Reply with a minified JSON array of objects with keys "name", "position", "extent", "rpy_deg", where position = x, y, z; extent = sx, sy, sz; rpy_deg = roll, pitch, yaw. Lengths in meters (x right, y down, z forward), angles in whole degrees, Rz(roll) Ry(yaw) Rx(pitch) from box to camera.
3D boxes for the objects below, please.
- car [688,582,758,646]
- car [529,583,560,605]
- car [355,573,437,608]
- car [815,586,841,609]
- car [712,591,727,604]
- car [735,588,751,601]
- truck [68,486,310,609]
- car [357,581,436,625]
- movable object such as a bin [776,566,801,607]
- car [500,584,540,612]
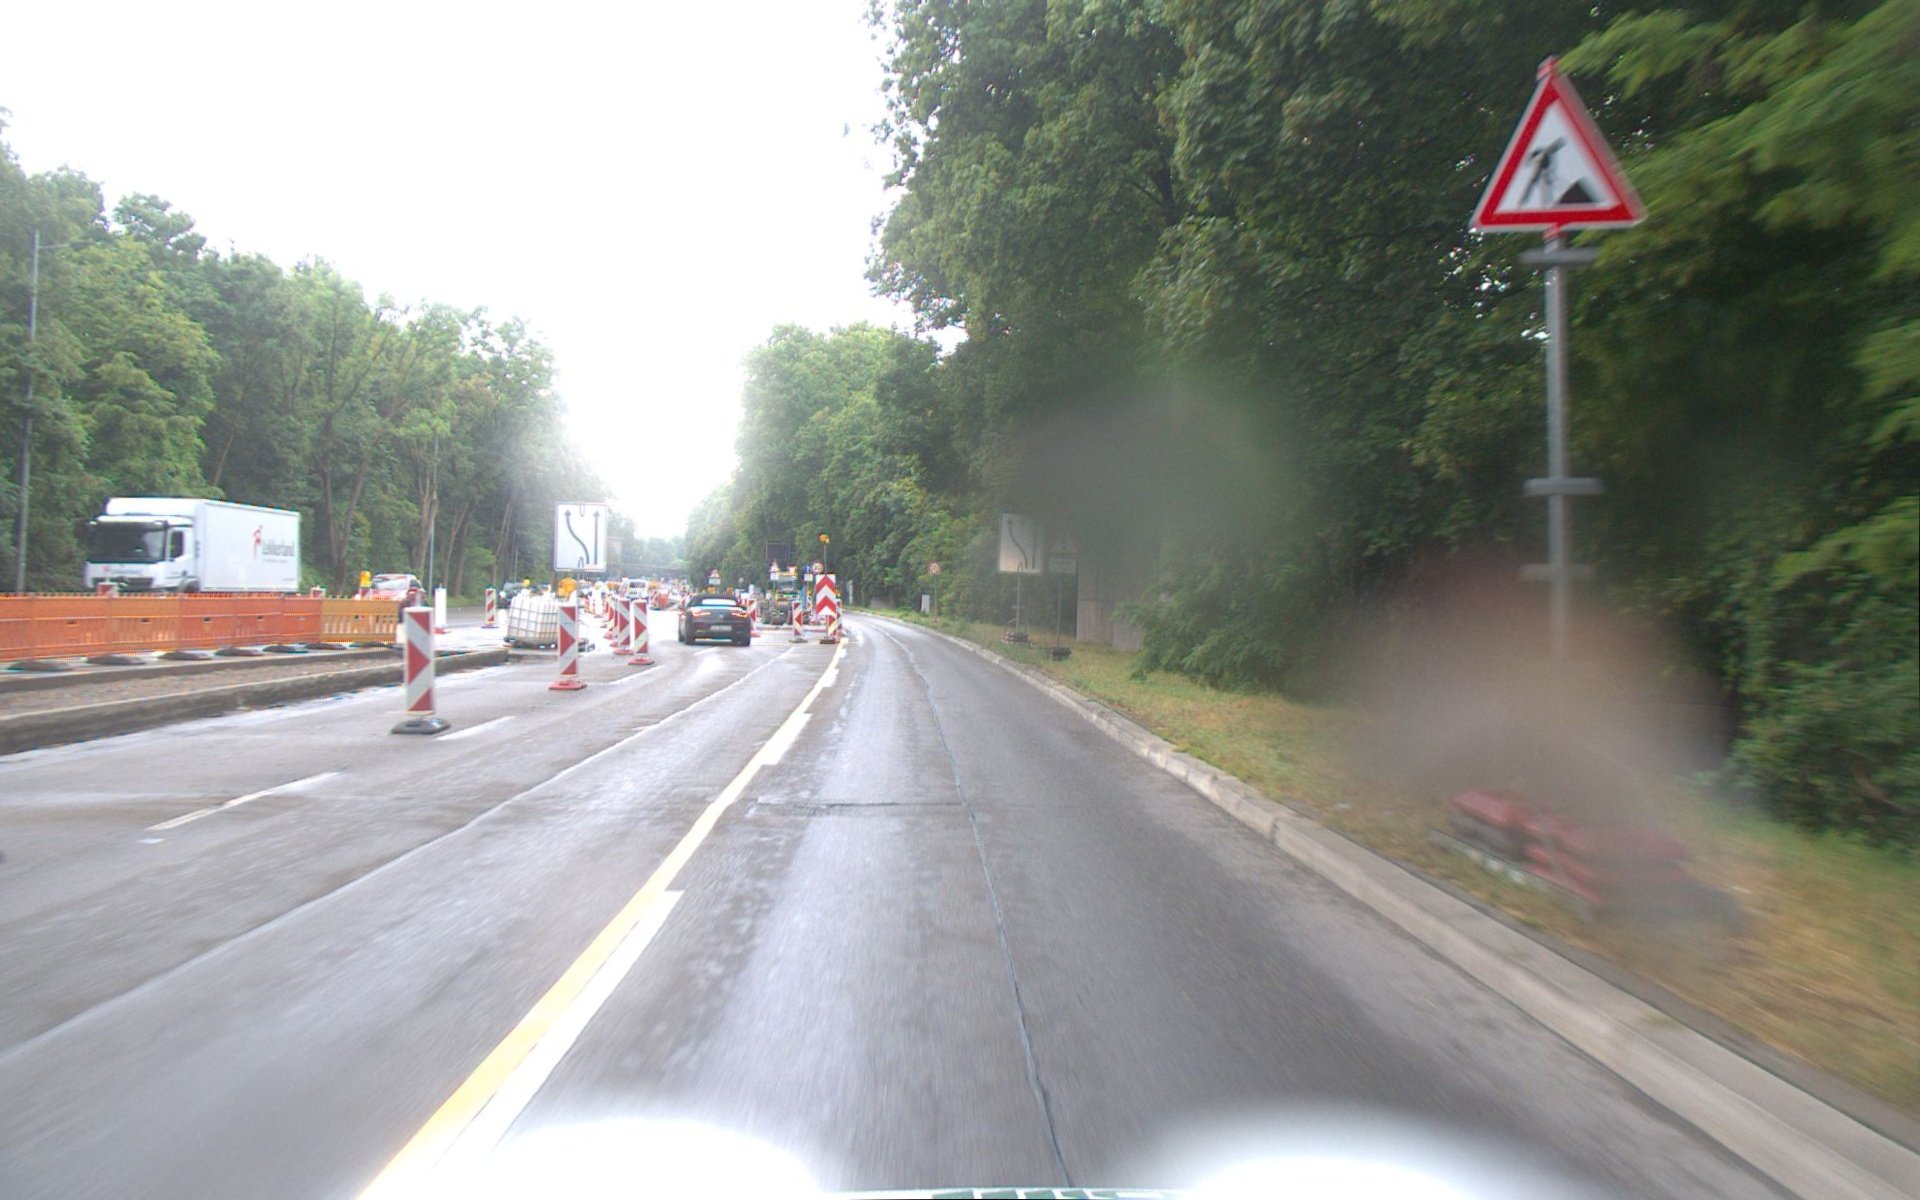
[{"name":"car","position":[-6.782,0.354,47.377],"extent":[1.827,1.517,3.994],"rpy_deg":[3,2,-8]},{"name":"car","position":[-29.443,-0.420,117.259],"extent":[1.495,1.483,3.536],"rpy_deg":[0,0,-4]},{"name":"car","position":[-20.443,-0.334,60.091],"extent":[1.573,1.172,4.281],"rpy_deg":[2,0,-1]},{"name":"car","position":[-10.389,-0.223,129.755],"extent":[1.877,1.625,4.828],"rpy_deg":[2,1,-6]},{"name":"car","position":[-34.563,-0.396,237.531],"extent":[1.839,1.646,3.995],"rpy_deg":[4,0,-6]},{"name":"car","position":[-26.978,-0.720,205.643],"extent":[1.725,1.367,3.990],"rpy_deg":[3,1,-11]},{"name":"truck","position":[-22.737,-1.409,49.556],"extent":[2.739,3.203,10.143],"rpy_deg":[2,0,-2]},{"name":"car","position":[-23.991,0.117,70.628],"extent":[1.807,1.753,4.718],"rpy_deg":[-2,0,-1]},{"name":"movable object such as a bin","position":[-12.551,-0.993,120.884],"extent":[1.713,2.917,3.528],"rpy_deg":[1,0,-7]},{"name":"car","position":[-27.477,-0.148,103.368],"extent":[1.603,1.676,4.196],"rpy_deg":[1,0,-4]}]
